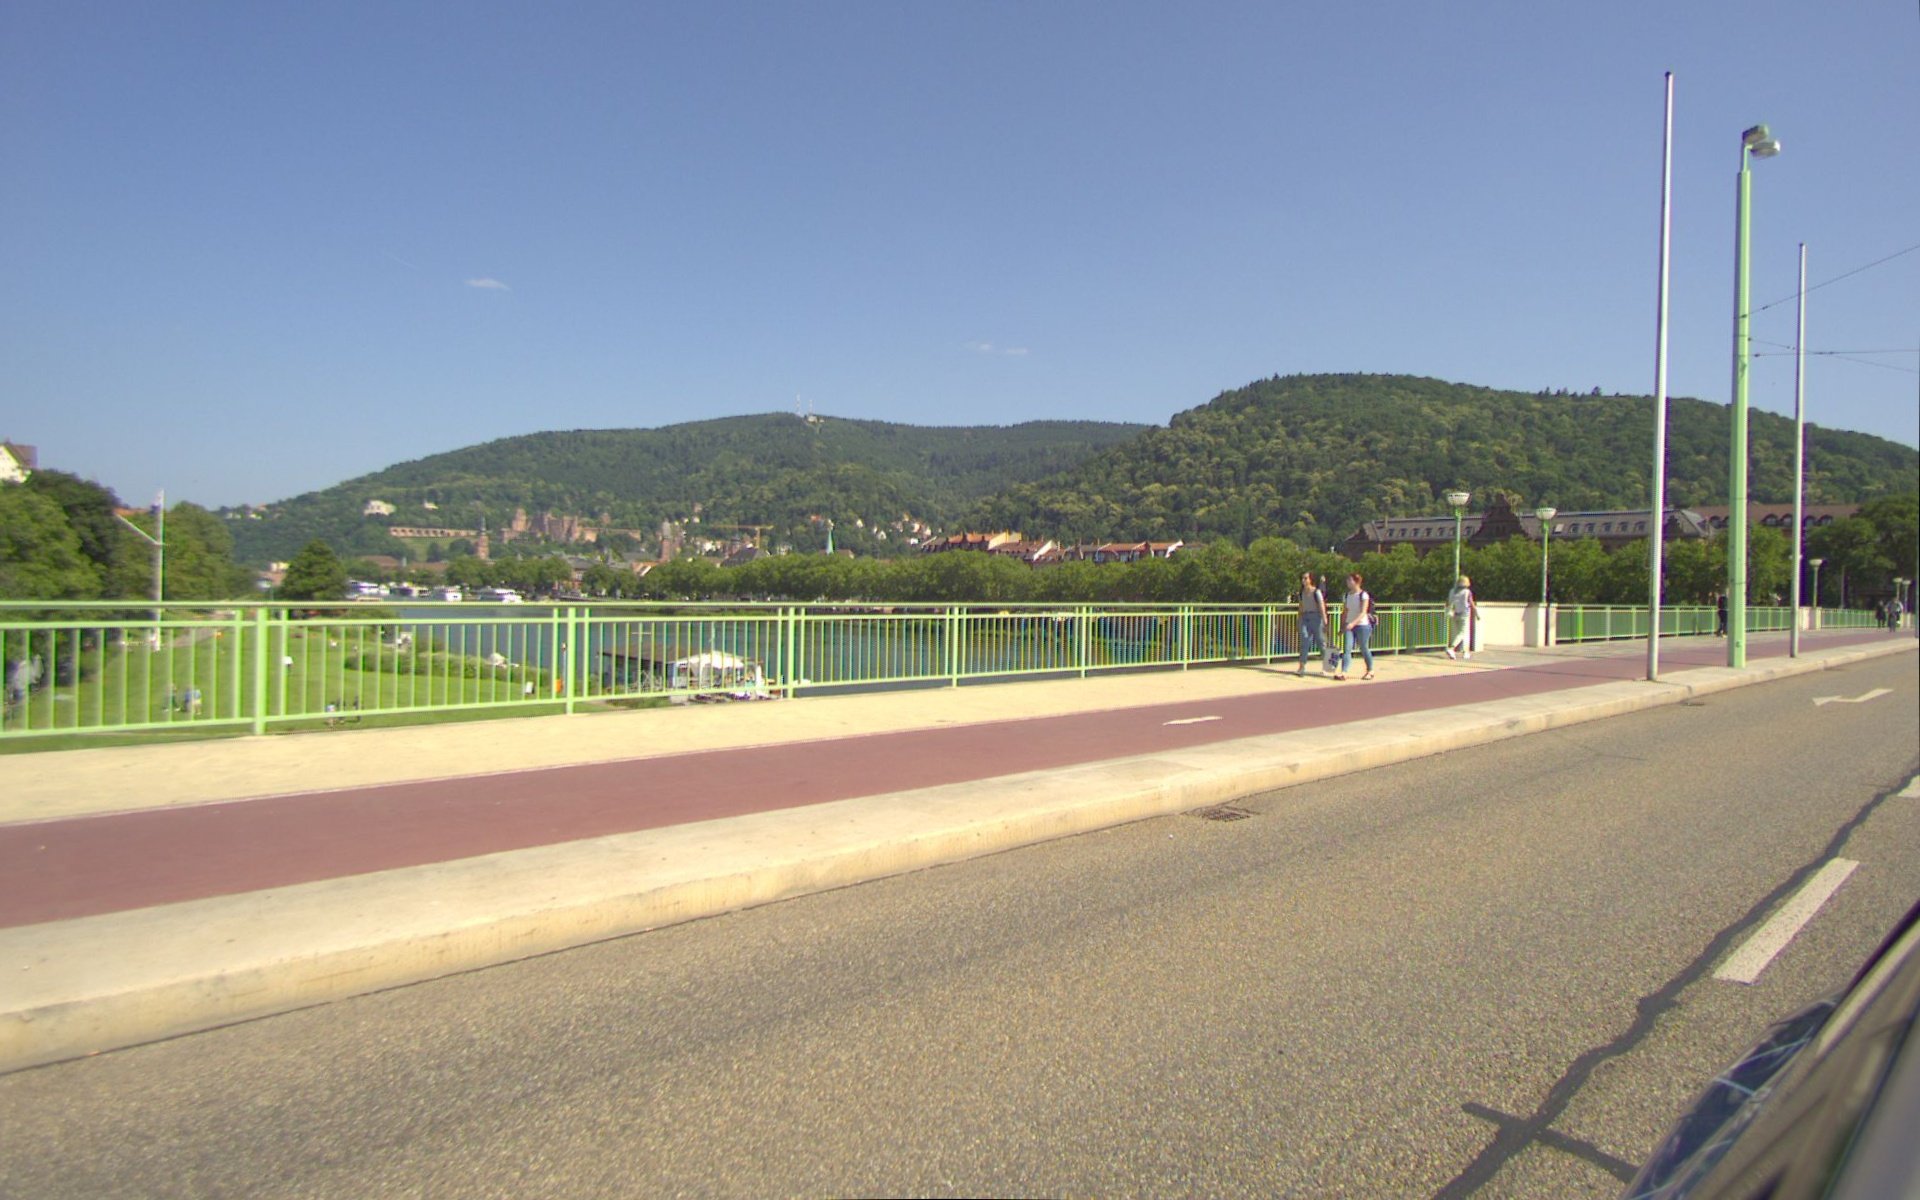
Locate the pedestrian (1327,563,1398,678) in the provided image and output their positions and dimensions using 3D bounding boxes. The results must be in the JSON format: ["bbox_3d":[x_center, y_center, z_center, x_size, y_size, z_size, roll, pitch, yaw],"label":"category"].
[{"bbox_3d":[6.105,0.285,15.362,0.811,1.679,0.664,0,2,-41],"label":"pedestrian"}]

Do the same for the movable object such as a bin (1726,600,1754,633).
[{"bbox_3d":[27.491,0.568,35.672,0.917,1.104,0.583,0,1,-42],"label":"movable object such as a bin"}]

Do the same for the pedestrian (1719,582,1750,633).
[{"bbox_3d":[26.887,0.237,35.122,0.844,1.727,0.664,0,2,-41],"label":"pedestrian"}]

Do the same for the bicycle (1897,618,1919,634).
[{"bbox_3d":[47.961,1.311,51.215,1.834,0.775,0.595,0,2,-41],"label":"bicycle"}]

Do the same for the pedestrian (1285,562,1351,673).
[{"bbox_3d":[5.622,0.257,15.905,0.733,1.680,0.668,0,1,-41],"label":"pedestrian"}]

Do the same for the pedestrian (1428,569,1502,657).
[{"bbox_3d":[10.146,0.250,20.329,1.063,1.683,0.949,0,2,-41],"label":"pedestrian"}]

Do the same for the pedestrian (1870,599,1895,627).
[{"bbox_3d":[57.705,0.778,63.311,1.063,1.683,0.949,0,2,-41],"label":"pedestrian"}]

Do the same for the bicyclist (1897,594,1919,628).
[{"bbox_3d":[47.936,0.557,51.133,0.829,1.685,0.731,1,1,-40],"label":"bicyclist"}]
